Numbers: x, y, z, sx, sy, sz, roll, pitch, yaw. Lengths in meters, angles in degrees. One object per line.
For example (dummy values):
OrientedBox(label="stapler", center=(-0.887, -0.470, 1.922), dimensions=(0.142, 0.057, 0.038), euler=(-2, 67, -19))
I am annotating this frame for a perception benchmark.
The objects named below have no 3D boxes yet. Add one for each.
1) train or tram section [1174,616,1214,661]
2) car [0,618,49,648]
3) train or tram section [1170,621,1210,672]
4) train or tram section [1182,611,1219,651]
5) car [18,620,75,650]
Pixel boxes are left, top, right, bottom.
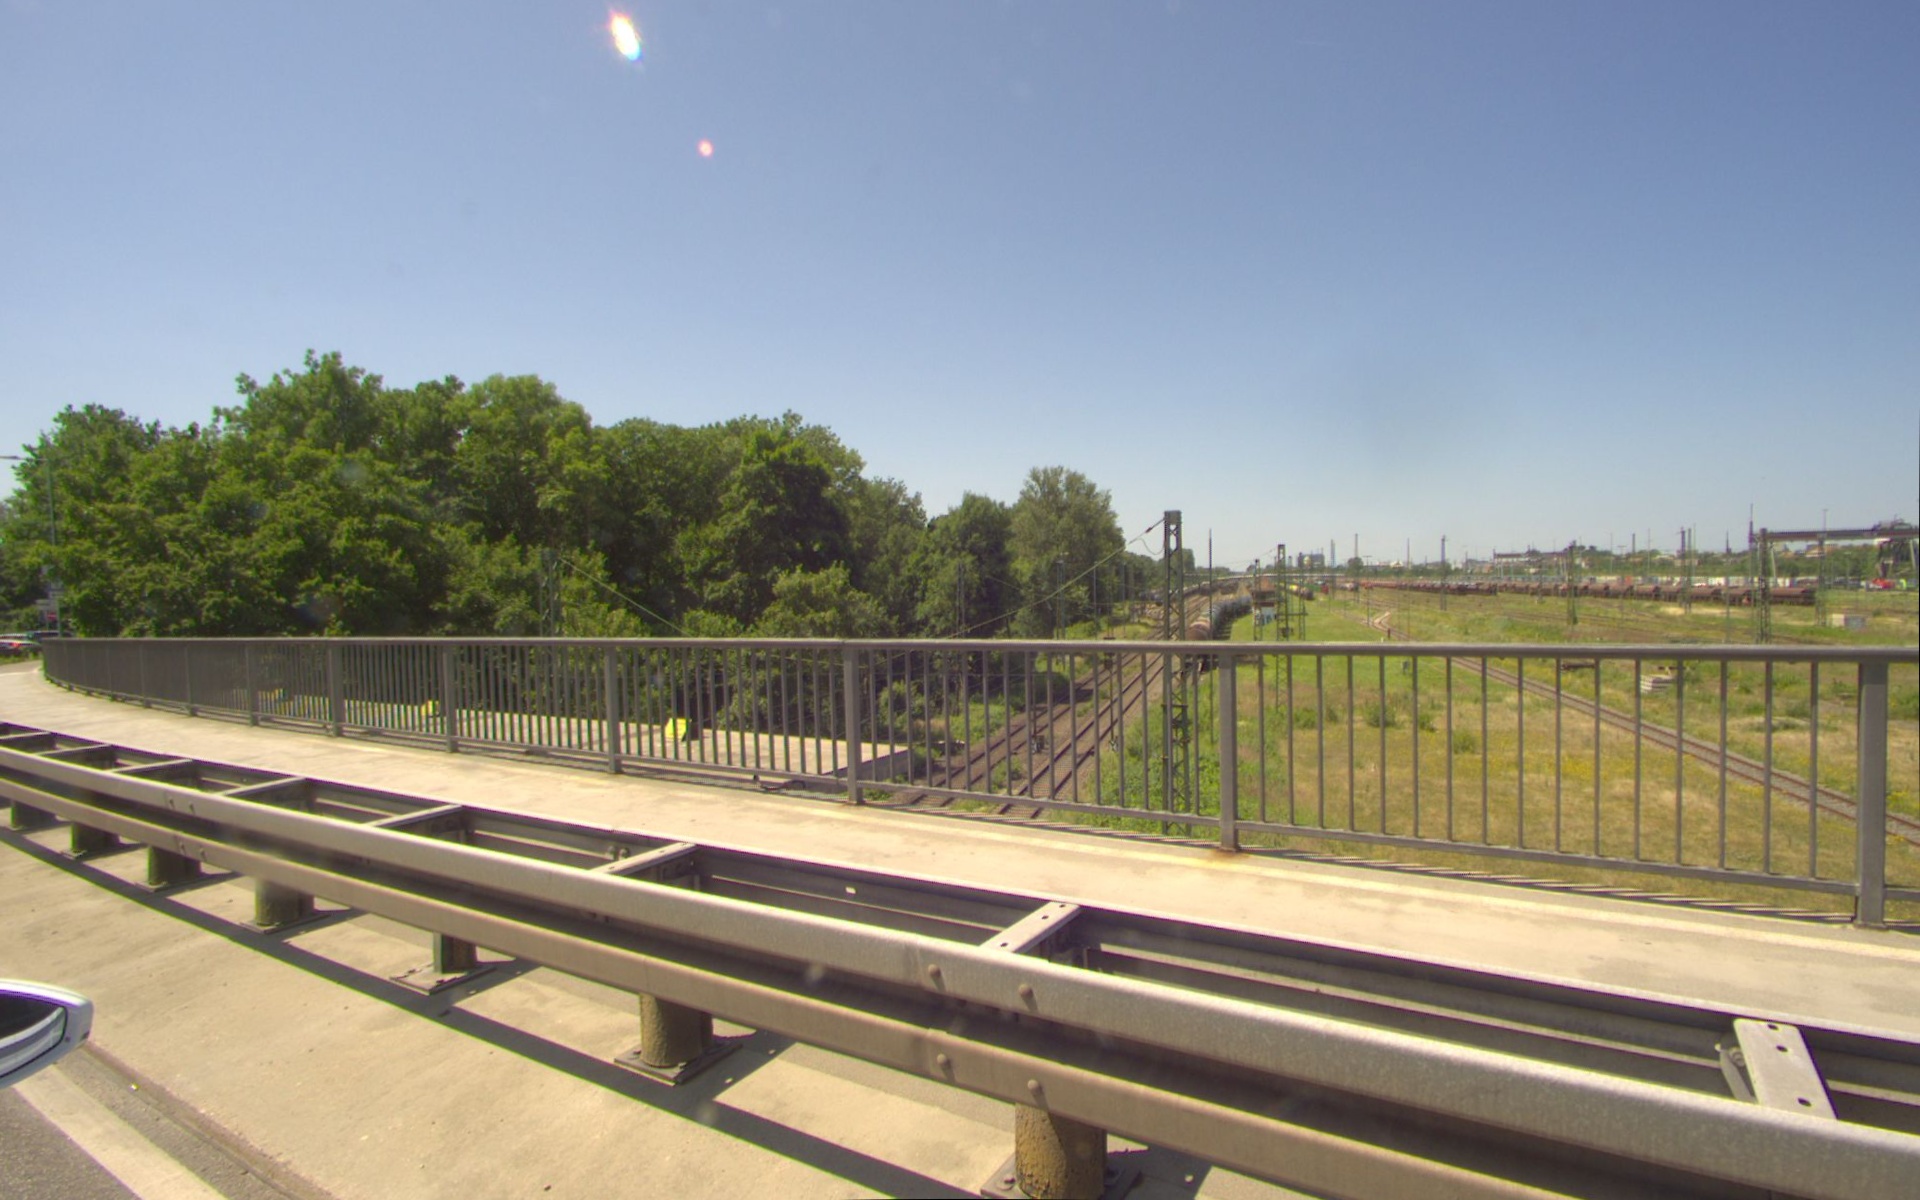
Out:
OrientedBox(label="train or tram section", center=(28.192, 4.458, 120.156), dimensions=(3.783, 4.366, 13.605), euler=(-2, 1, 17))
OrientedBox(label="car", center=(-52.944, 1.874, 56.137), dimensions=(1.972, 1.594, 3.981), euler=(2, -4, -31))
OrientedBox(label="train or tram section", center=(24.645, 4.848, 106.973), dimensions=(3.781, 4.366, 13.612), euler=(-2, 1, 14))
OrientedBox(label="train or tram section", center=(32.083, 4.052, 133.162), dimensions=(3.783, 4.366, 13.603), euler=(-2, 1, 18))
OrientedBox(label="car", center=(-56.320, 2.142, 61.804), dimensions=(1.666, 1.783, 3.982), euler=(0, -2, -29))
